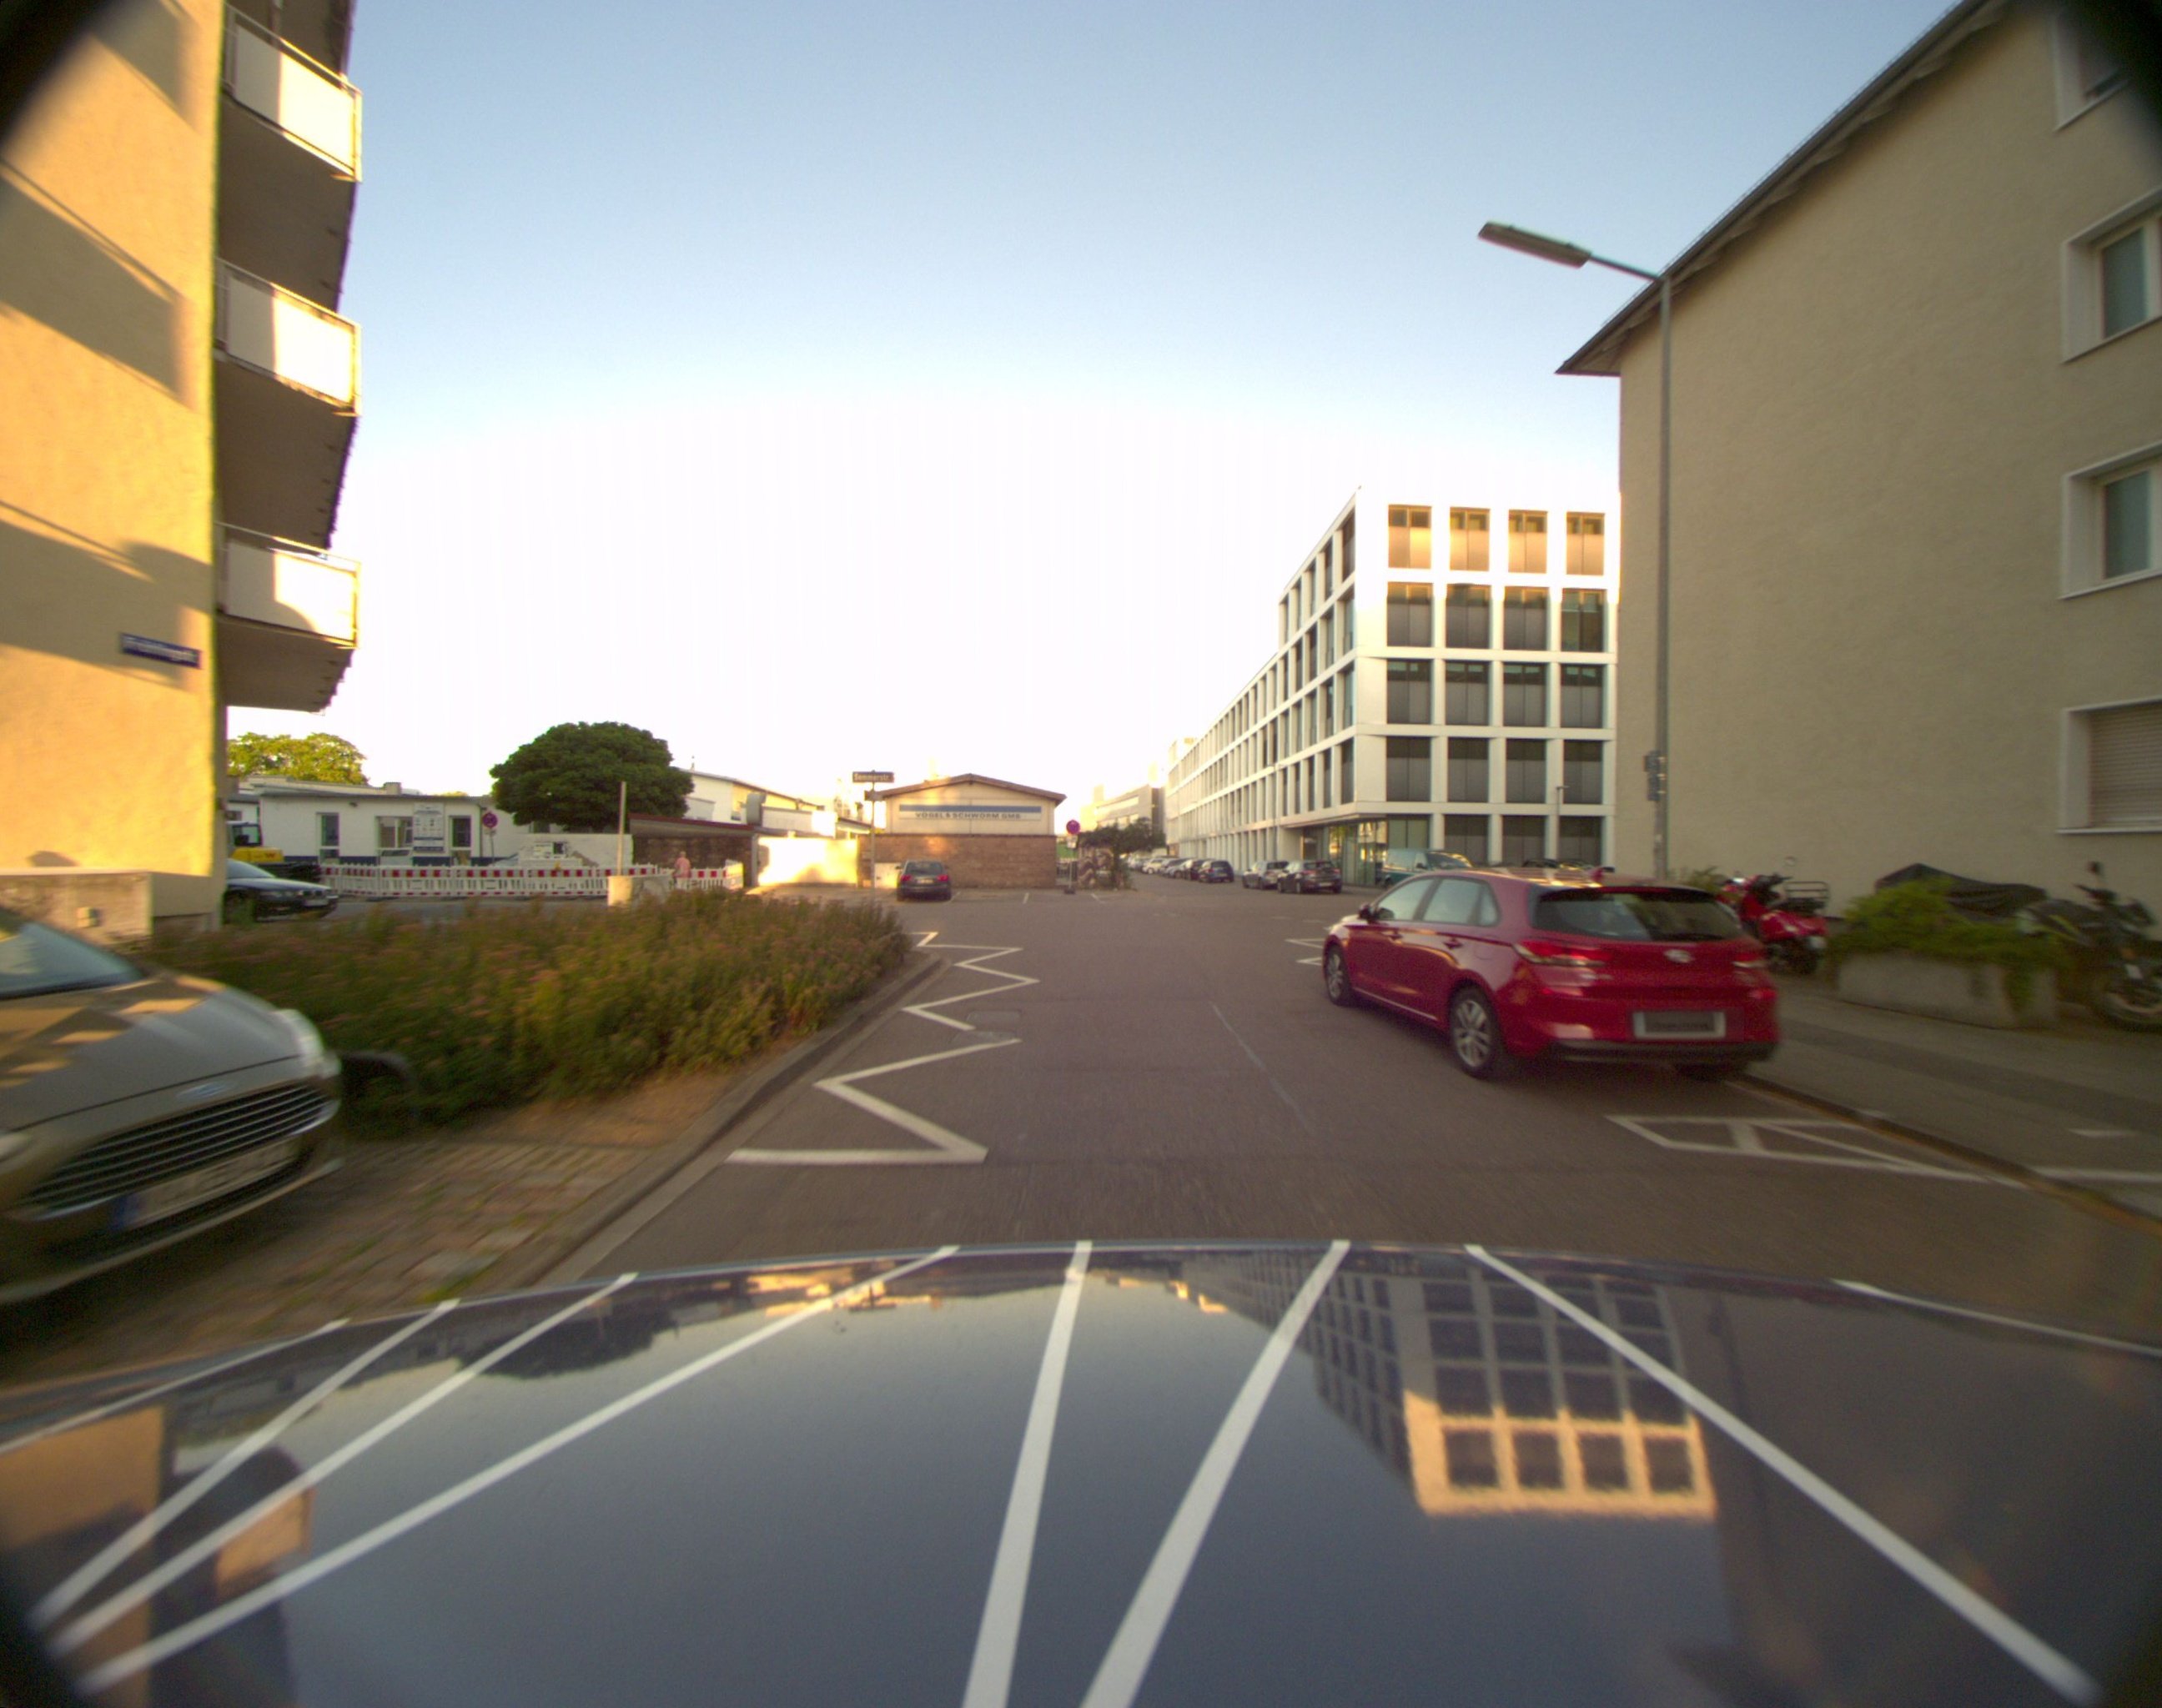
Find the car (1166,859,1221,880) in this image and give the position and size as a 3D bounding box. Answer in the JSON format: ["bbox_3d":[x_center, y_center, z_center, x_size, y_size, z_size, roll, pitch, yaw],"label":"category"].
[{"bbox_3d":[8.669,1.183,58.629,3.936,1.502,1.688,-1,-1,0],"label":"car"}]

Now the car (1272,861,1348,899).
[{"bbox_3d":[9.896,1.079,33.175,1.784,1.470,4.330,-2,0,-3],"label":"car"}]

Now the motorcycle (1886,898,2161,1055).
[{"bbox_3d":[8.429,0.970,6.637,0.683,1.072,2.035,0,0,2],"label":"motorcycle"}]

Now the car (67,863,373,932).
[{"bbox_3d":[-17.991,0.900,16.076,3.998,1.363,2.000,0,-2,-3],"label":"car"}]

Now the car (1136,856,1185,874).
[{"bbox_3d":[7.643,1.077,73.492,4.629,1.696,2.005,-1,-1,2],"label":"car"}]

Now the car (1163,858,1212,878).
[{"bbox_3d":[8.563,1.127,61.391,3.664,1.502,1.688,-1,-1,-1],"label":"car"}]

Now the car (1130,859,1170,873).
[{"bbox_3d":[7.686,1.383,84.755,4.319,1.486,1.795,-1,-1,0],"label":"car"}]

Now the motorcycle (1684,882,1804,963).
[{"bbox_3d":[10.102,0.997,11.682,0.724,1.072,2.084,0,0,21],"label":"motorcycle"}]

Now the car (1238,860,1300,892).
[{"bbox_3d":[9.573,1.109,39.004,1.715,1.470,4.183,-3,0,-6],"label":"car"}]

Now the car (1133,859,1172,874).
[{"bbox_3d":[7.484,1.345,79.689,3.792,1.513,1.693,-1,-1,-3],"label":"car"}]

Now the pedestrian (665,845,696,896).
[{"bbox_3d":[-13.307,0.548,25.228,0.788,1.655,0.628,1,-2,-37],"label":"pedestrian"}]

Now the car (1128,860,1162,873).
[{"bbox_3d":[7.370,1.443,87.479,3.717,1.486,1.707,-1,-1,-1],"label":"car"}]

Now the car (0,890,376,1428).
[{"bbox_3d":[-5.017,0.892,2.448,3.882,1.483,1.741,0,0,1],"label":"car"}]

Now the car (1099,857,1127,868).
[{"bbox_3d":[6.225,1.660,146.802,5.084,1.870,1.888,-2,0,-7],"label":"car"}]

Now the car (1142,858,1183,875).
[{"bbox_3d":[7.578,1.189,71.107,3.675,1.502,1.697,-1,-1,2],"label":"car"}]

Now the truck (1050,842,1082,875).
[{"bbox_3d":[-1.120,0.377,54.032,2.104,2.187,5.711,1,-2,-3],"label":"truck"}]

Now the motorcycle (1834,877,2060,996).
[{"bbox_3d":[10.550,0.935,9.399,0.724,1.257,2.083,0,0,11],"label":"motorcycle"}]

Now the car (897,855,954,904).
[{"bbox_3d":[-5.678,0.844,27.455,1.833,1.522,4.722,0,1,-13],"label":"car"}]

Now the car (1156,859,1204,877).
[{"bbox_3d":[8.581,1.238,66.060,3.974,1.502,1.796,-1,-1,0],"label":"car"}]

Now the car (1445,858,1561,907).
[{"bbox_3d":[15.660,1.000,28.506,1.784,1.541,4.328,0,1,-3],"label":"car"}]

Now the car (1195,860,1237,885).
[{"bbox_3d":[8.592,1.162,48.756,1.653,1.430,4.183,-3,0,-4],"label":"car"}]

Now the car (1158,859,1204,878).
[{"bbox_3d":[8.335,1.234,63.556,3.664,1.502,1.688,-1,-1,-1],"label":"car"}]

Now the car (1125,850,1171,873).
[{"bbox_3d":[8.087,0.898,92.026,5.394,2.617,2.078,-1,-1,0],"label":"car"}]

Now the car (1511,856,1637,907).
[{"bbox_3d":[18.254,0.943,28.400,1.734,1.650,4.328,0,1,-3],"label":"car"}]

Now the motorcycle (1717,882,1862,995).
[{"bbox_3d":[8.464,0.941,9.188,0.689,1.153,2.038,0,0,25],"label":"motorcycle"}]

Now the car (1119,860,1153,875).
[{"bbox_3d":[7.021,1.760,97.095,4.120,1.806,1.815,-1,-1,-5],"label":"car"}]

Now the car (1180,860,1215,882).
[{"bbox_3d":[8.349,1.168,54.643,1.652,1.430,4.201,-3,0,-2],"label":"car"}]

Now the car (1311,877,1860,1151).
[{"bbox_3d":[3.514,0.977,6.387,1.850,1.464,4.078,0,0,-1],"label":"car"}]

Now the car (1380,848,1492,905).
[{"bbox_3d":[13.177,0.773,28.582,1.803,1.968,4.687,0,0,-3],"label":"car"}]
